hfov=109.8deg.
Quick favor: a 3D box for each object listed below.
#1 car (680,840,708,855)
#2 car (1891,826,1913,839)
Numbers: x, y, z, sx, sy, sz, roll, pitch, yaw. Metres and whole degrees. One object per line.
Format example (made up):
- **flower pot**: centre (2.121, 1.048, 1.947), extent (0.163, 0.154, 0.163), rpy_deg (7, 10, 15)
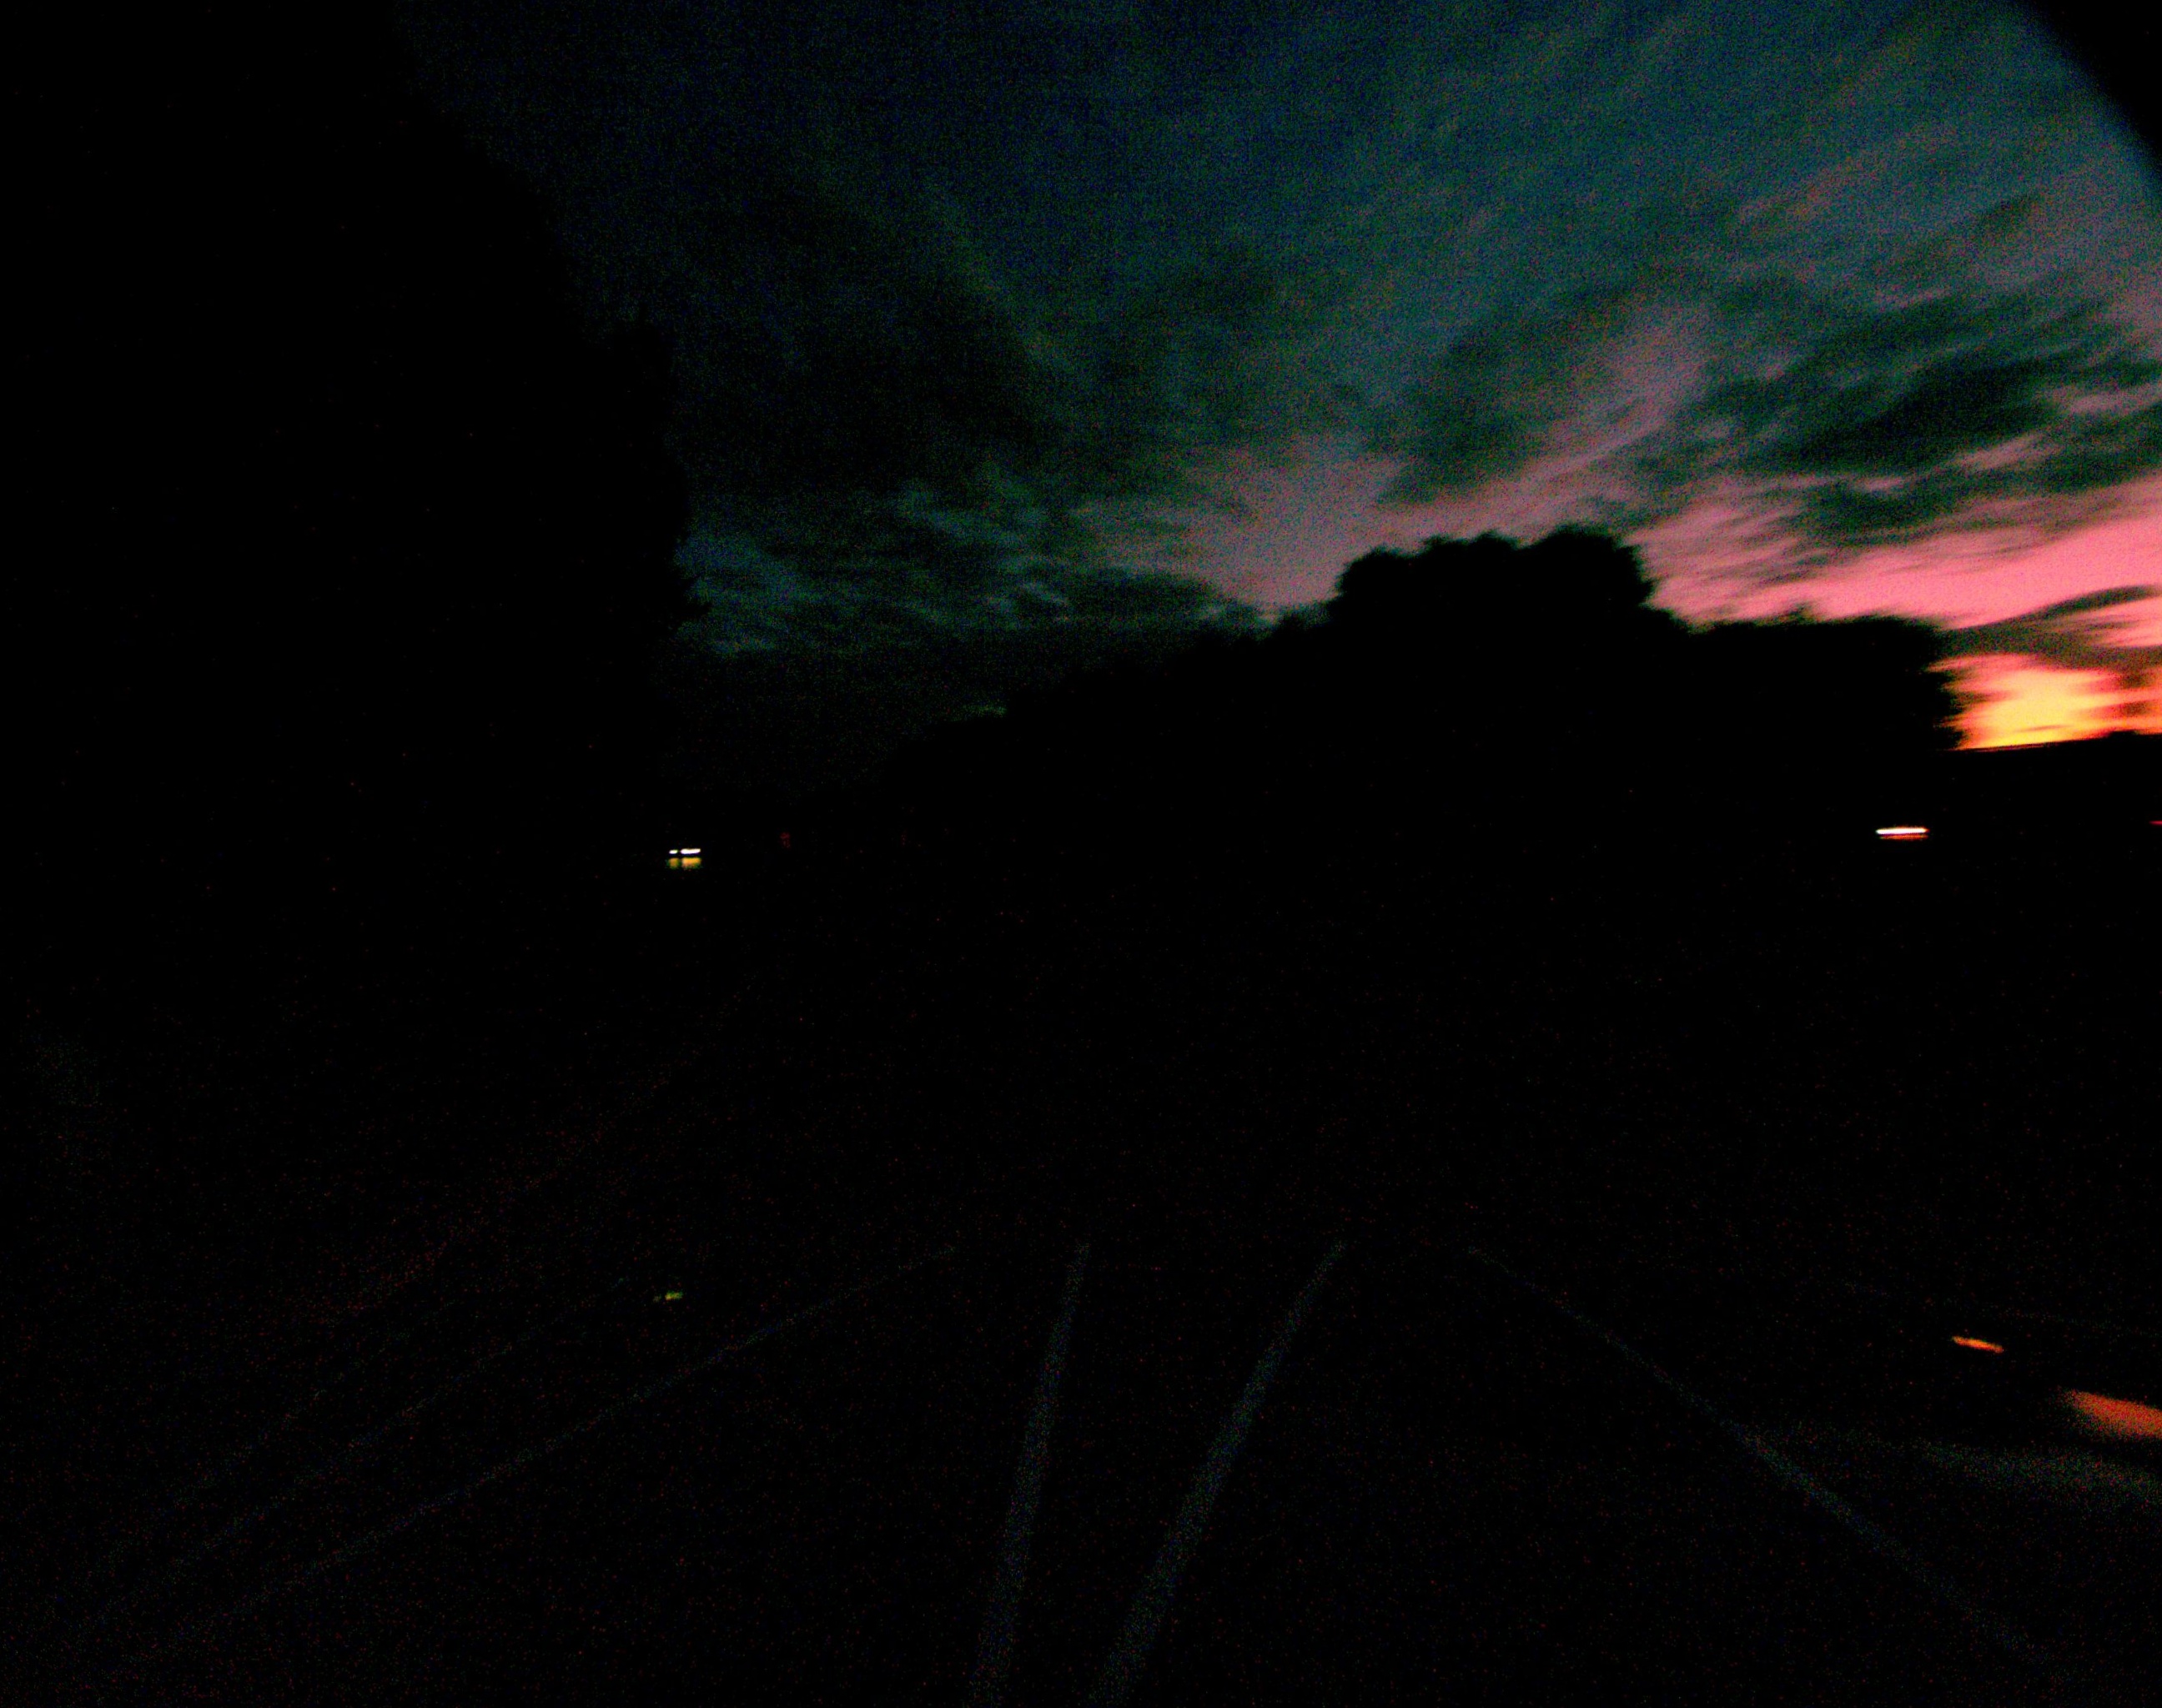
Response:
- **car**: centre (-45.961, -0.835, 90.305), extent (1.787, 1.644, 3.994), rpy_deg (-1, 2, -11)
- **car**: centre (117.209, -3.071, 108.473), extent (4.007, 1.586, 2.054), rpy_deg (-2, 0, -41)
